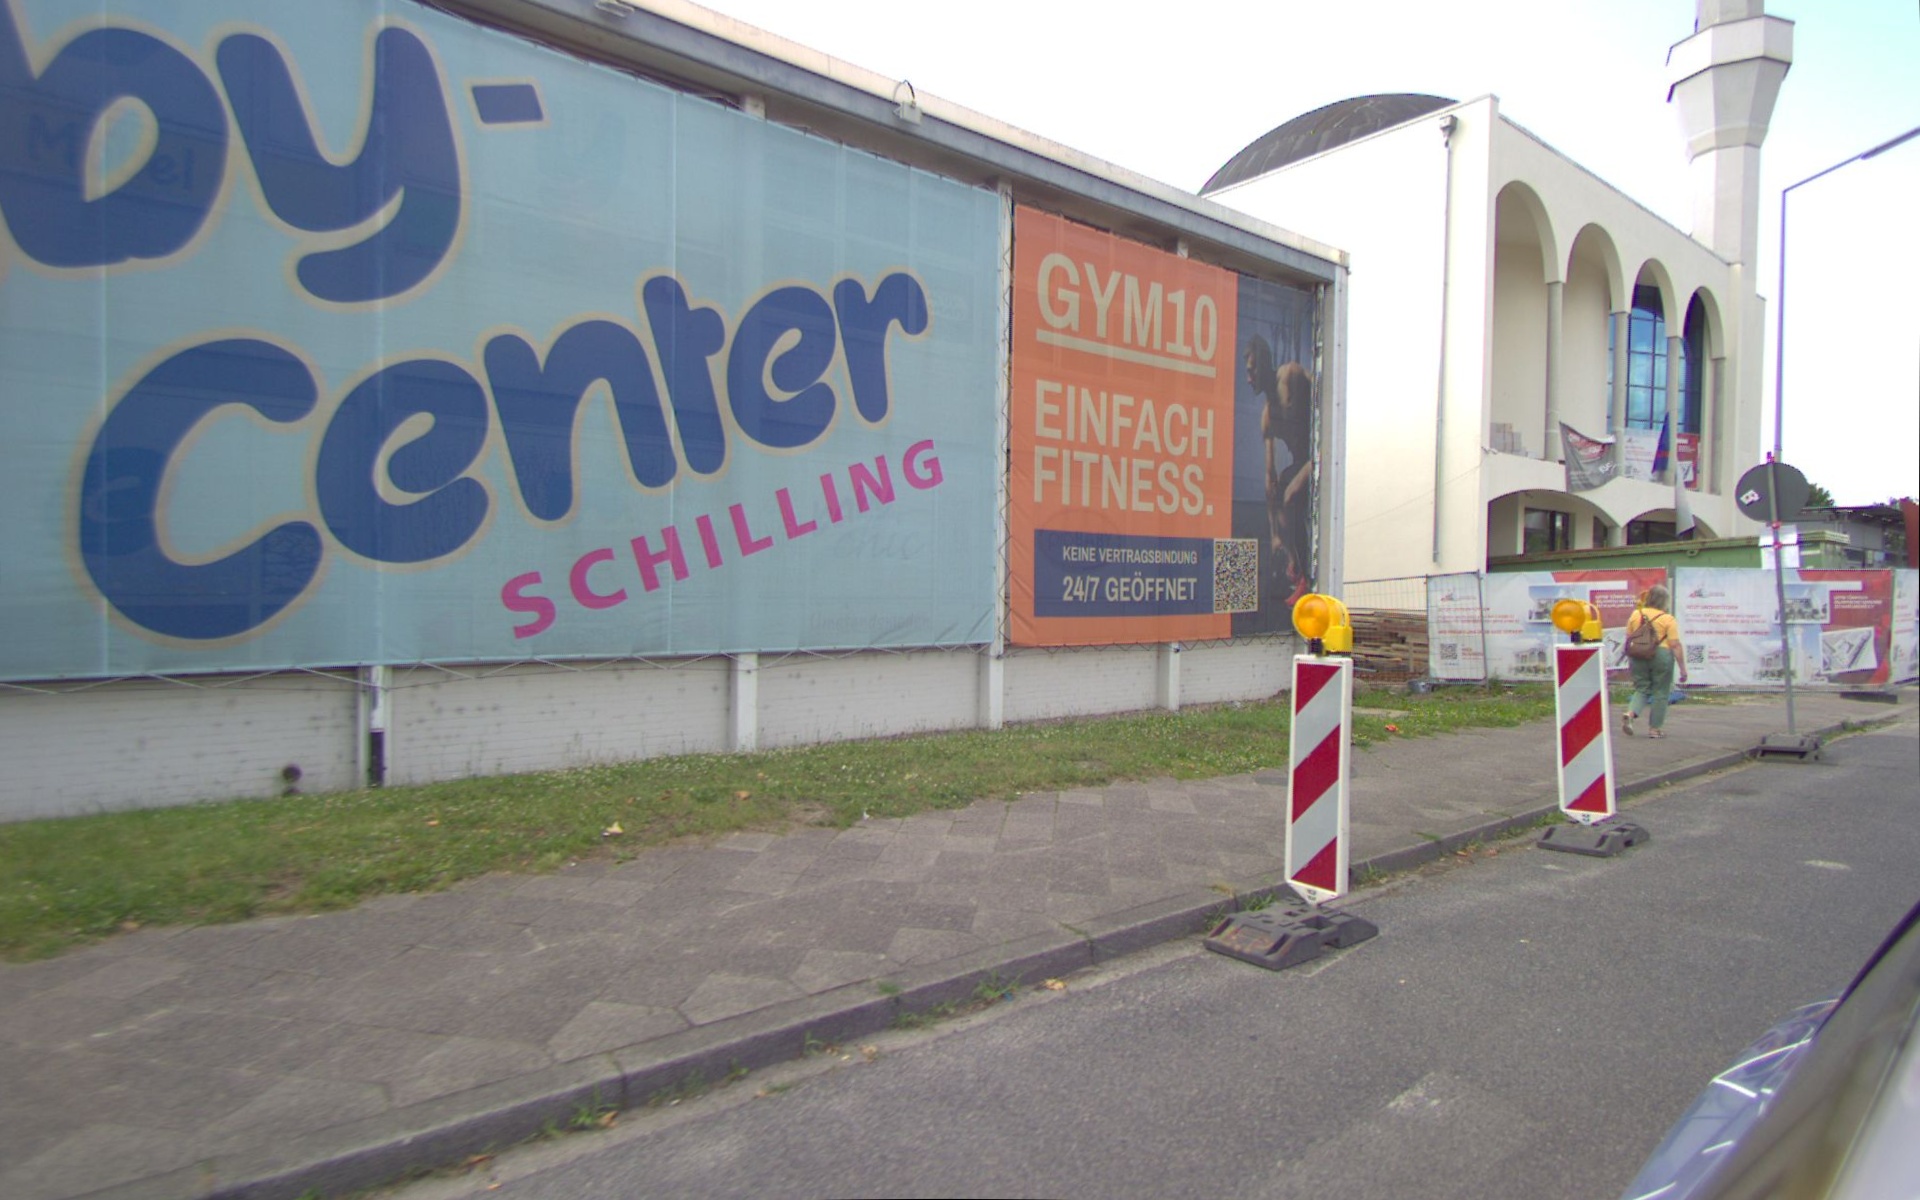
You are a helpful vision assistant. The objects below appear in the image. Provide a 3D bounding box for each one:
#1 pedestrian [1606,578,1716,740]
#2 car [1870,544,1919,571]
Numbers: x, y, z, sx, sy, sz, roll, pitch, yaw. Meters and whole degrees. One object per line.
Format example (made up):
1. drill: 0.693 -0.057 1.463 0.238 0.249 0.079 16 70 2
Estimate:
1. pedestrian: 7.200 0.561 10.382 1.111 1.553 0.682 0 1 -42
2. car: 57.230 -2.562 61.956 3.686 1.538 1.722 0 1 -40
